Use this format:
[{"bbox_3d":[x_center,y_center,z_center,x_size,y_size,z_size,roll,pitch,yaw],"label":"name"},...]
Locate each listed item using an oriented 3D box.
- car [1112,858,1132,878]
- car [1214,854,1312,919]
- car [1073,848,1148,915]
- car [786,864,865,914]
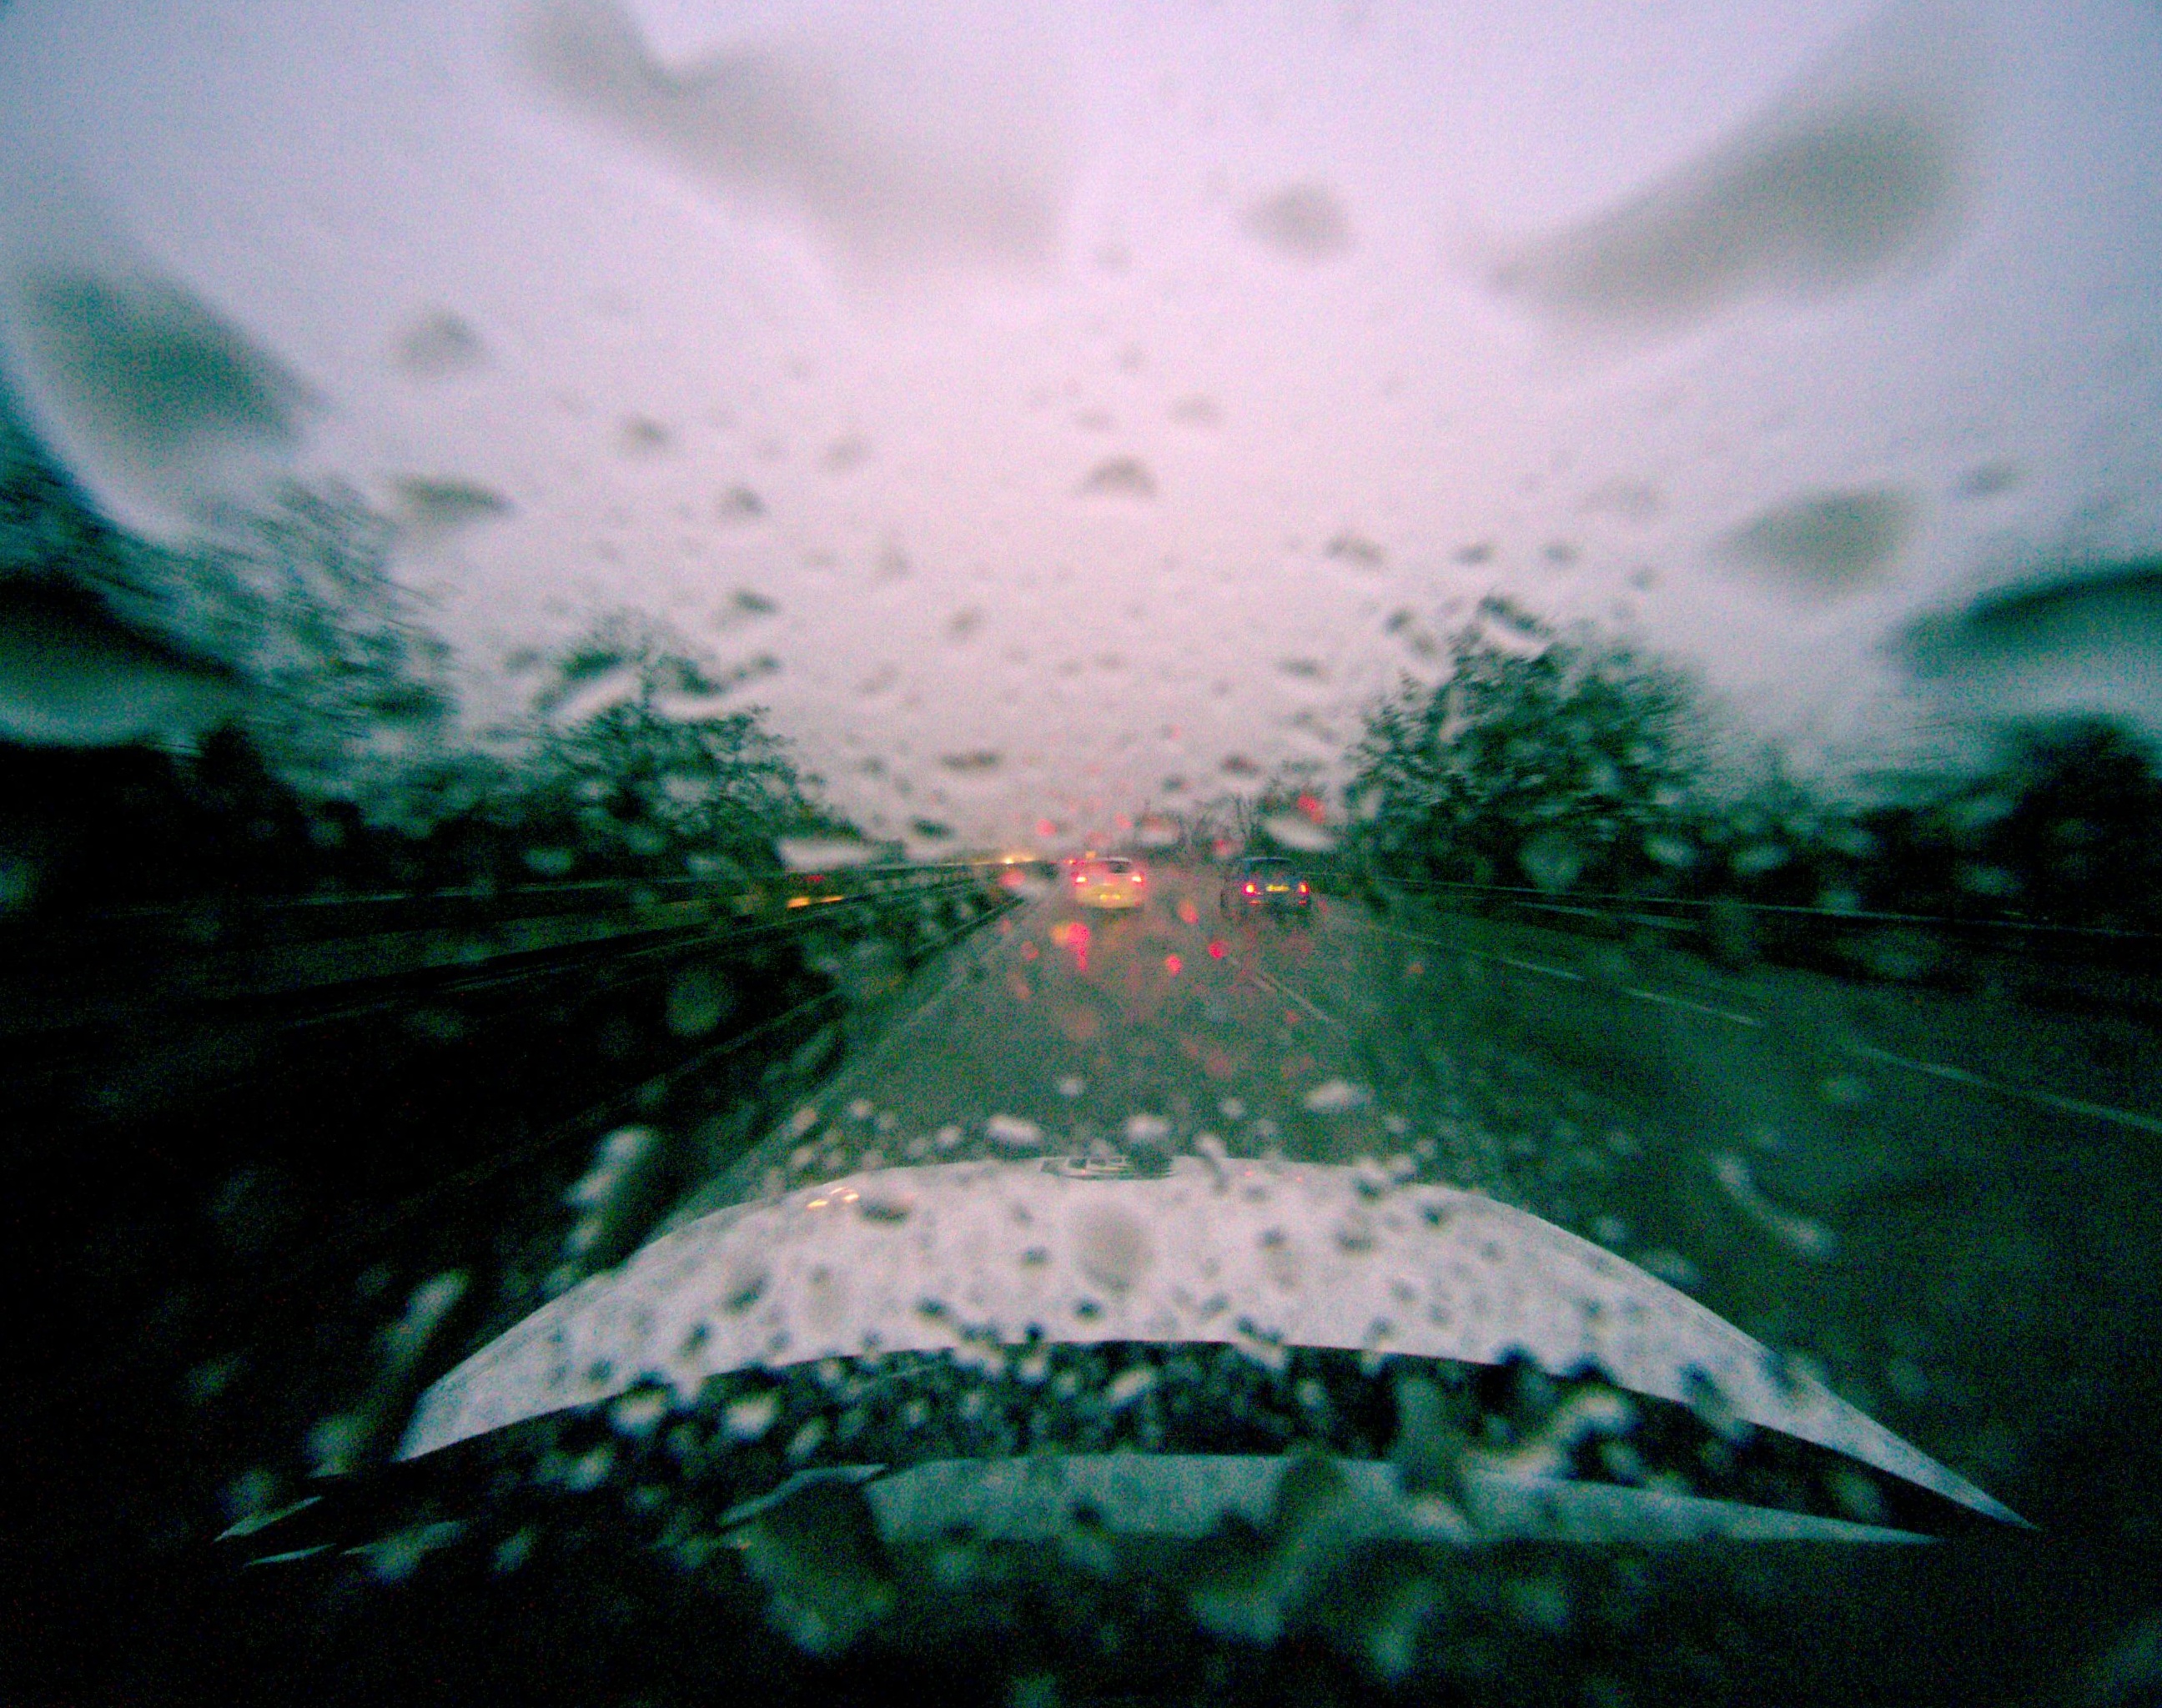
[{"bbox_3d":[4.413,1.493,87.279,1.866,1.904,4.002,5,-1,3],"label":"car"},{"bbox_3d":[4.471,0.739,20.574,1.837,1.453,4.153,0,0,4],"label":"car"},{"bbox_3d":[0.769,0.667,21.815,1.839,1.636,3.769,0,0,1],"label":"car"},{"bbox_3d":[-10.309,1.379,33.171,1.738,1.833,4.137,-2,-1,2],"label":"car"}]
